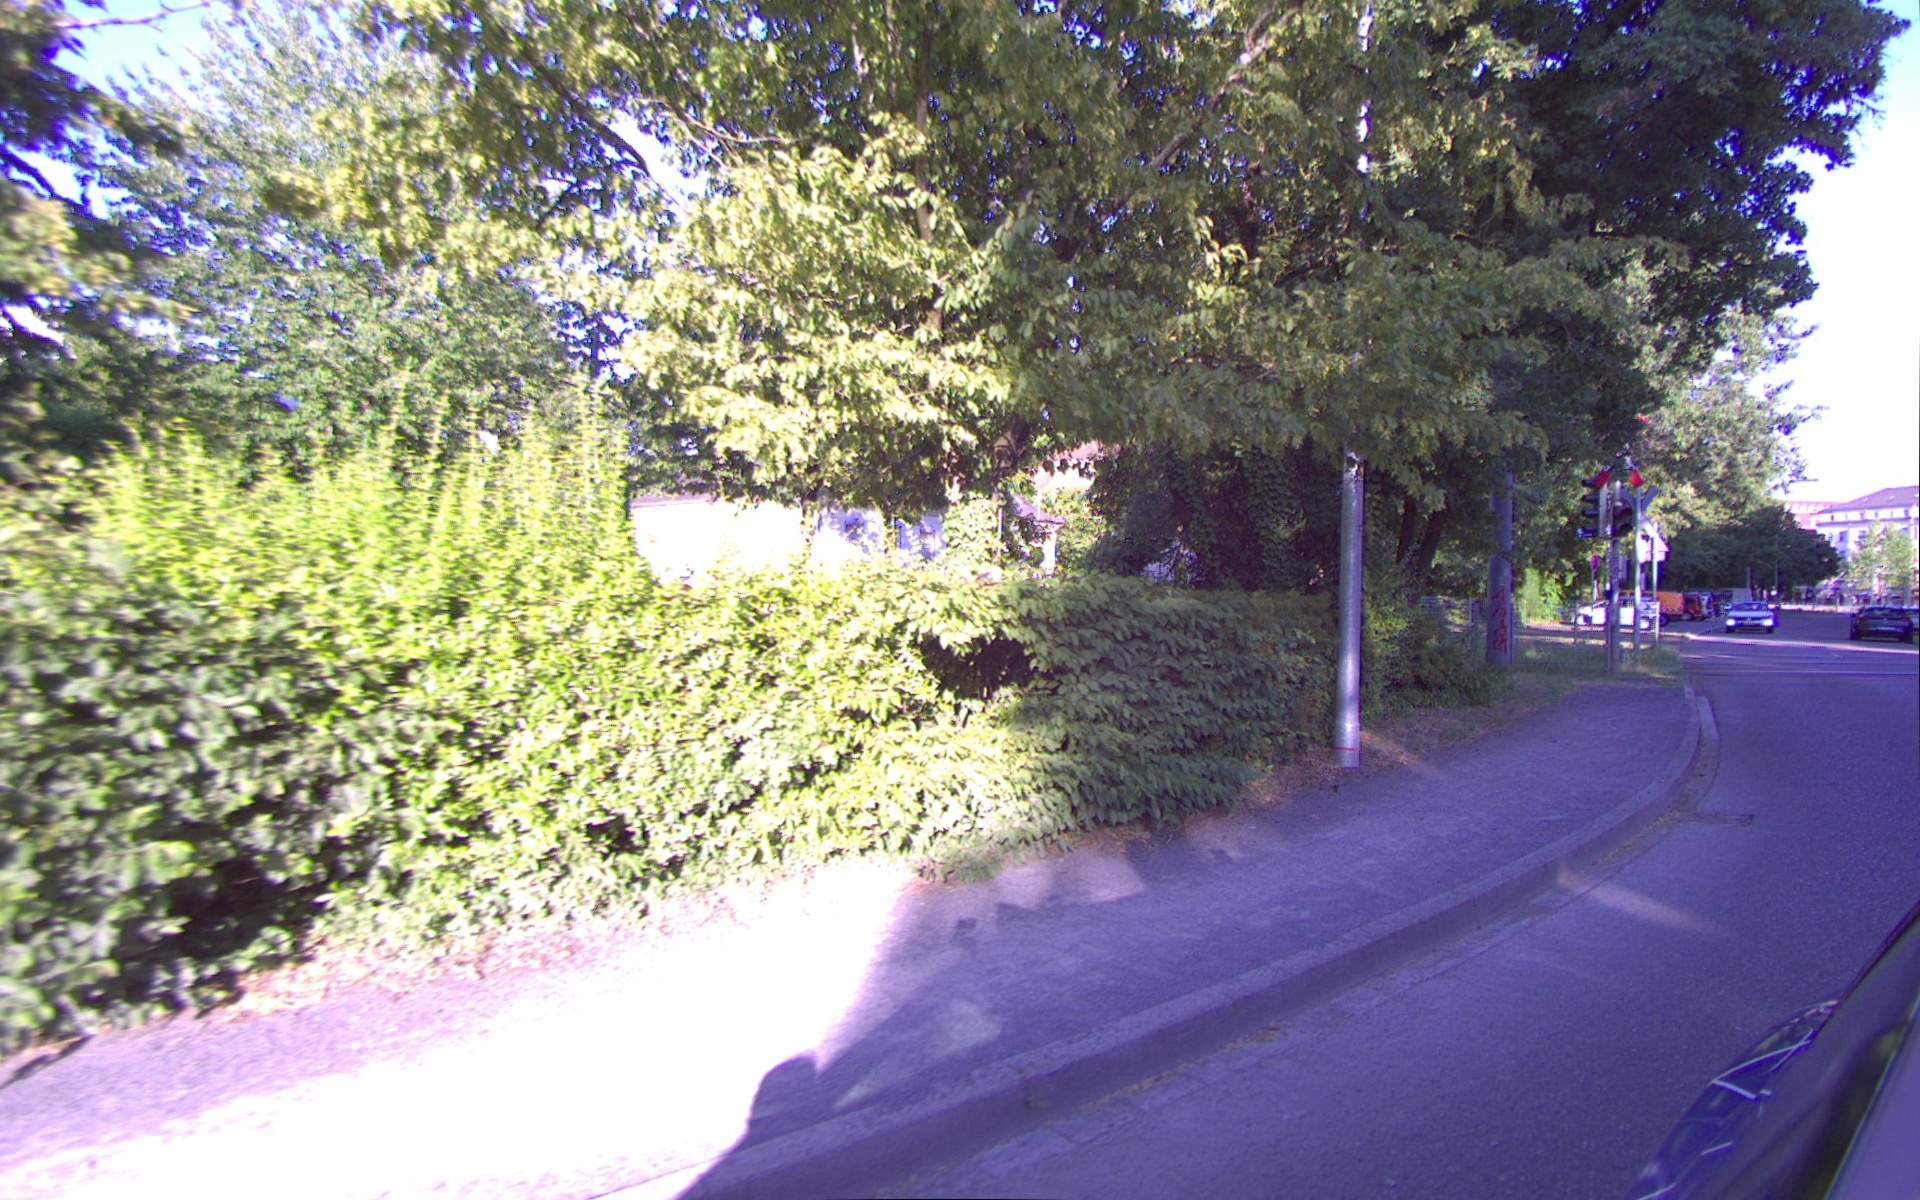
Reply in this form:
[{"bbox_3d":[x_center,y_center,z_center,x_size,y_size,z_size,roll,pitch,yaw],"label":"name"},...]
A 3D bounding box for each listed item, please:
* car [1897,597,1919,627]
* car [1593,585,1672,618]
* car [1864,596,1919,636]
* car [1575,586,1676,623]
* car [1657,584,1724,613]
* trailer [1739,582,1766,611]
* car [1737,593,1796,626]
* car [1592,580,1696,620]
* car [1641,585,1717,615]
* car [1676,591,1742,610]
[{"bbox_3d":[49.388,0.578,51.868,1.741,1.453,4.495,0,0,40],"label":"car"},{"bbox_3d":[37.336,0.061,56.226,3.396,1.651,1.654,4,3,42],"label":"car"},{"bbox_3d":[37.126,0.584,40.171,1.742,1.466,4.146,2,1,41],"label":"car"},{"bbox_3d":[32.639,0.180,49.655,3.980,1.565,1.711,4,3,38],"label":"car"},{"bbox_3d":[52.069,-0.117,72.177,1.754,1.907,3.605,0,3,-44],"label":"car"},{"bbox_3d":[74.524,-0.368,95.182,1.598,2.673,3.643,2,1,45],"label":"trailer"},{"bbox_3d":[38.684,0.410,48.509,4.035,1.471,1.685,0,1,-44],"label":"car"},{"bbox_3d":[39.259,-0.035,58.123,4.787,2.022,2.052,4,3,38],"label":"car"},{"bbox_3d":[50.050,-0.015,70.511,1.887,1.886,3.977,0,3,-43],"label":"car"},{"bbox_3d":[65.205,0.016,88.129,1.683,1.485,4.434,0,1,-45],"label":"car"}]
